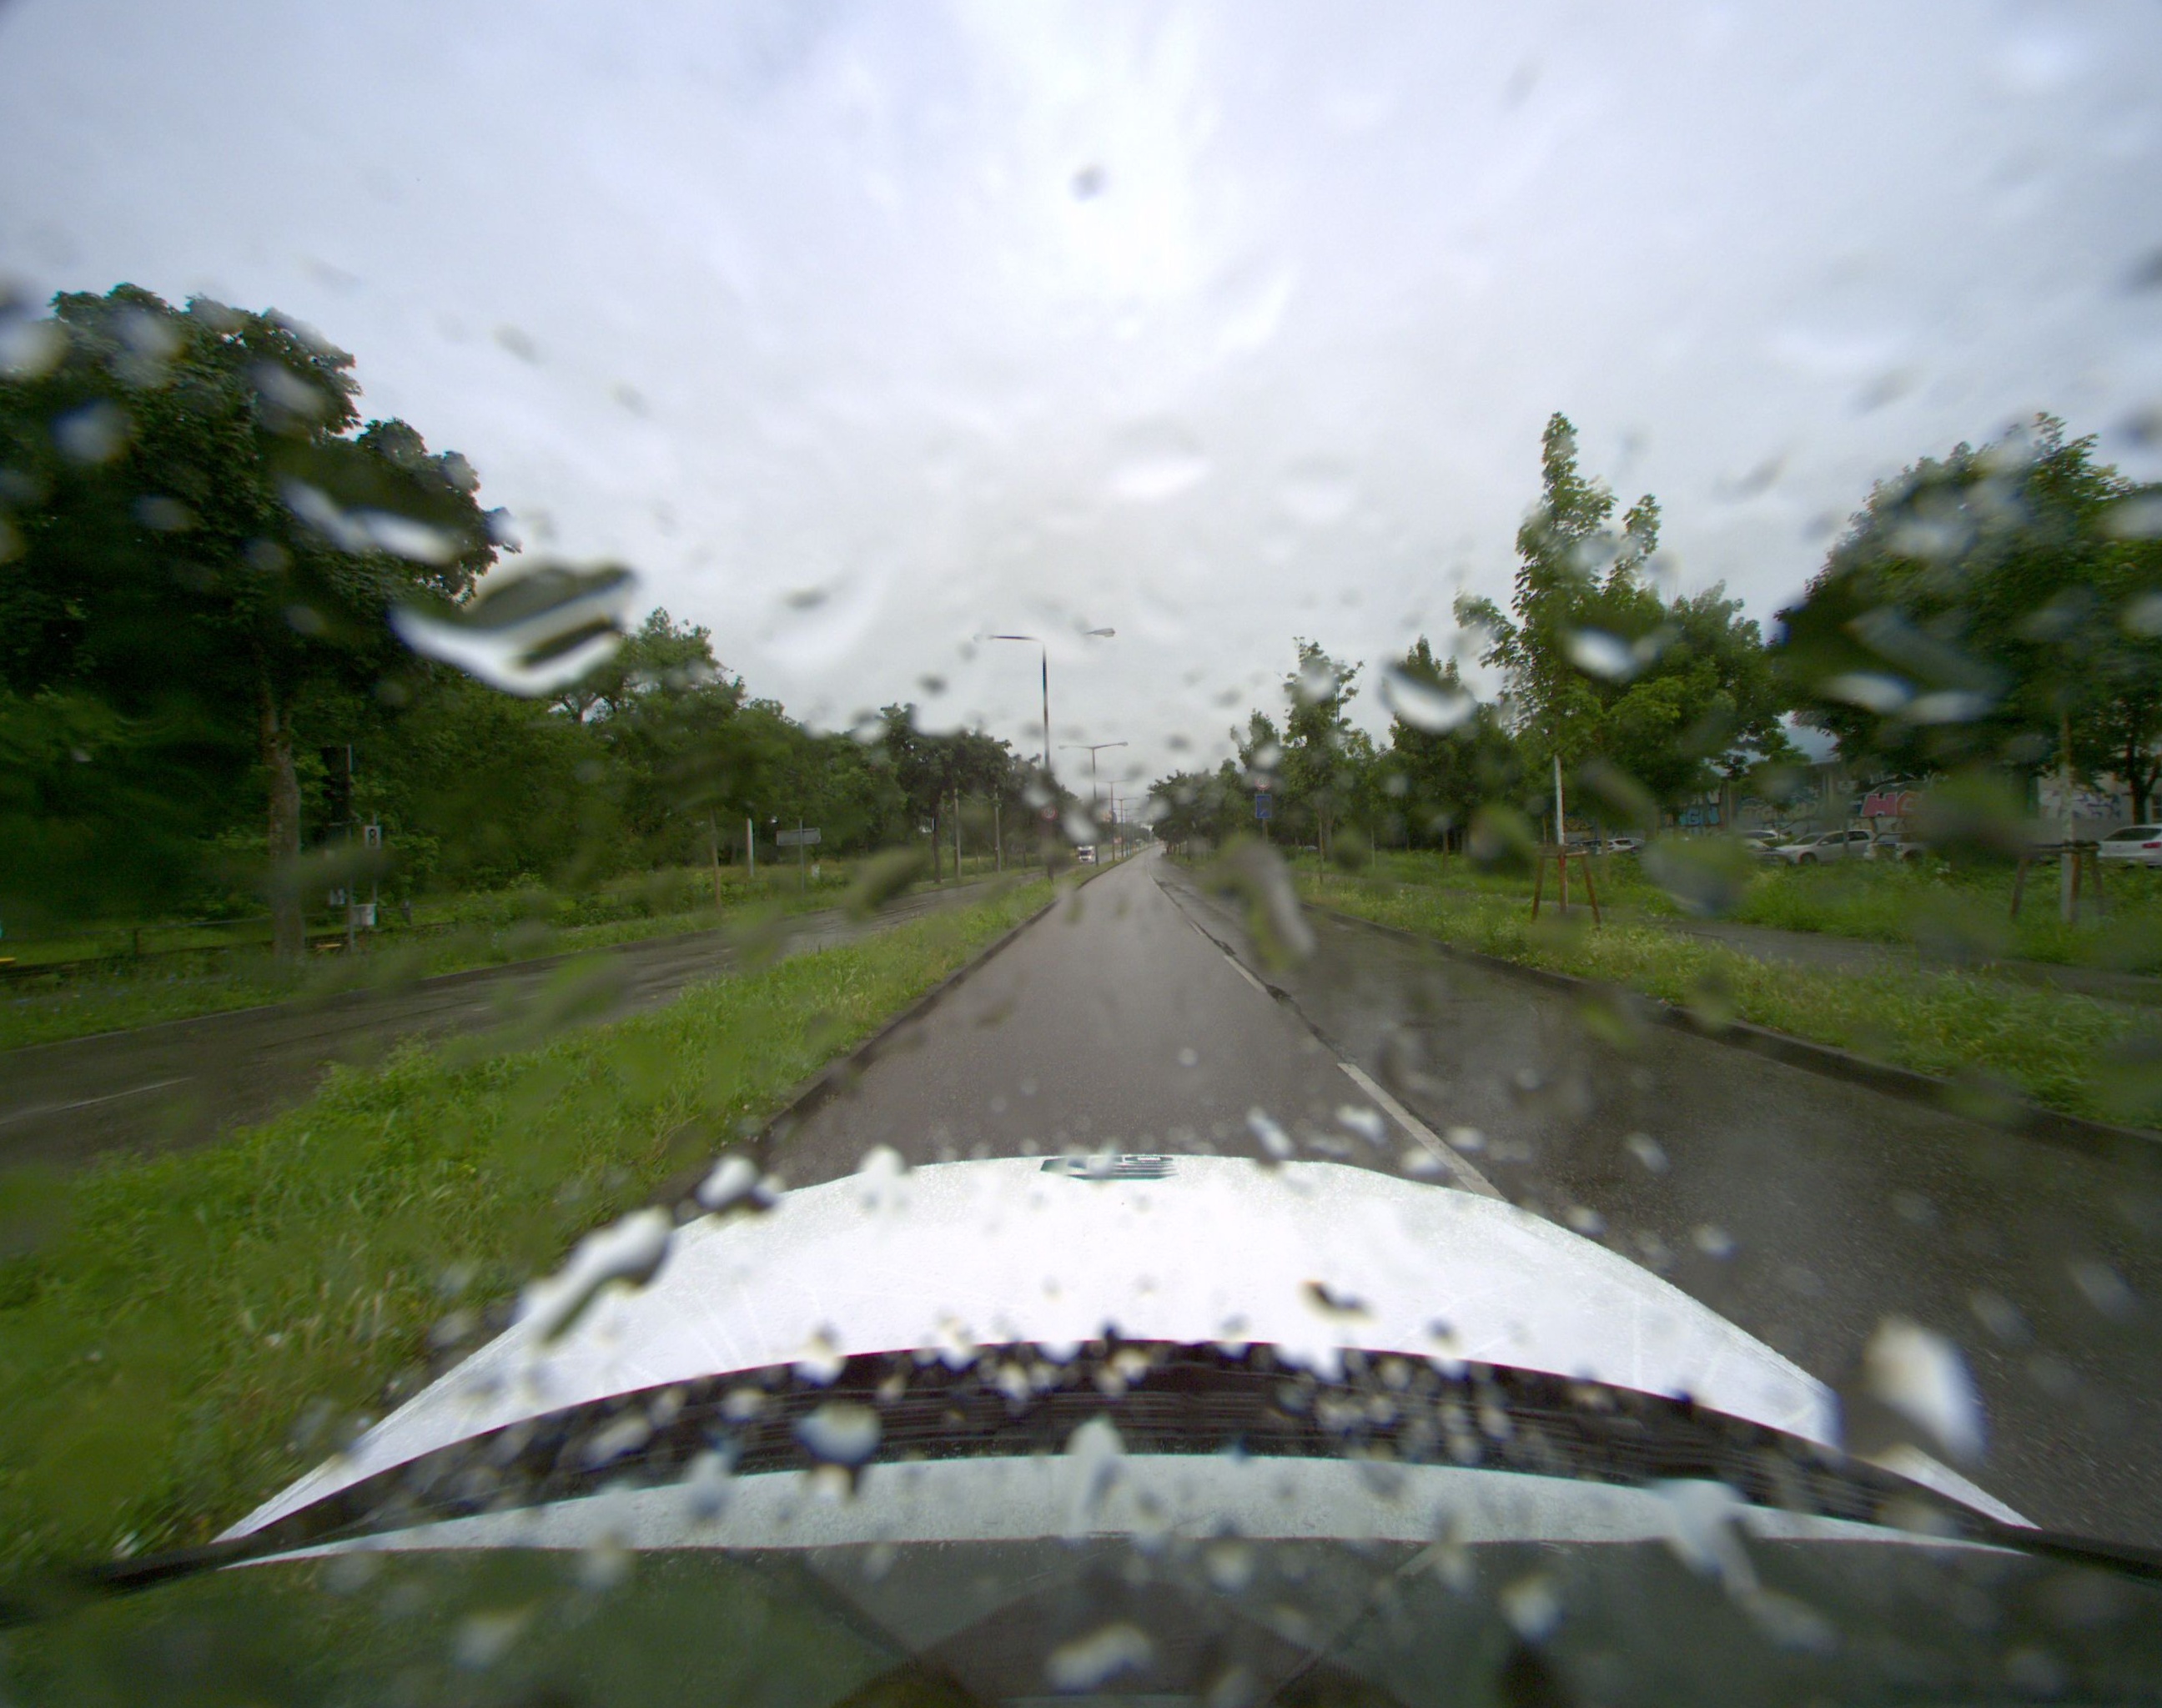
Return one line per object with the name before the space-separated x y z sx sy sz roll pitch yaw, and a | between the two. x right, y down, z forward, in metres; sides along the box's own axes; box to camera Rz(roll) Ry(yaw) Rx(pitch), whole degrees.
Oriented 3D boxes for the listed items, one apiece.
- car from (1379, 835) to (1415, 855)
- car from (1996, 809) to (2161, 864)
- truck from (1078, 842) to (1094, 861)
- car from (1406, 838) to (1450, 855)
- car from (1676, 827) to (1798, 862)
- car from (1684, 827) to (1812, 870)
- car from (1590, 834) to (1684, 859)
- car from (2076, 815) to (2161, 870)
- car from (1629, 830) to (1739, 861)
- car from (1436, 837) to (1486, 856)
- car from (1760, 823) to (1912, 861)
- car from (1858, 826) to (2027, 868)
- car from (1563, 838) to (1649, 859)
car | 37.771 -1.053 97.410 3.704 2.324 1.590 0 0 4
car | 32.752 -0.541 26.268 4.319 1.725 1.945 0 0 0
truck | 0.822 -0.364 124.880 2.129 2.843 5.077 -3 -1 3
car | 37.193 -0.823 87.304 3.937 1.820 1.899 0 0 4
car | 32.912 -0.477 40.950 4.554 1.705 2.000 0 0 0
car | 24.750 -0.258 30.430 1.735 1.445 4.130 -2 2 7
car | 34.335 -0.436 50.354 4.557 1.547 1.862 0 0 -2
car | 31.432 -0.313 23.136 4.174 1.484 1.761 0 0 0
car | 32.593 -0.463 44.119 4.557 1.645 1.999 0 0 -2
car | 36.096 -0.684 77.391 3.937 1.820 1.899 0 0 4
car | 32.571 -0.502 35.257 4.545 1.557 1.949 0 0 7
car | 32.449 -0.251 30.775 4.319 1.557 1.945 0 0 0
car | 33.967 -0.336 52.755 4.385 1.334 1.837 0 0 -2
